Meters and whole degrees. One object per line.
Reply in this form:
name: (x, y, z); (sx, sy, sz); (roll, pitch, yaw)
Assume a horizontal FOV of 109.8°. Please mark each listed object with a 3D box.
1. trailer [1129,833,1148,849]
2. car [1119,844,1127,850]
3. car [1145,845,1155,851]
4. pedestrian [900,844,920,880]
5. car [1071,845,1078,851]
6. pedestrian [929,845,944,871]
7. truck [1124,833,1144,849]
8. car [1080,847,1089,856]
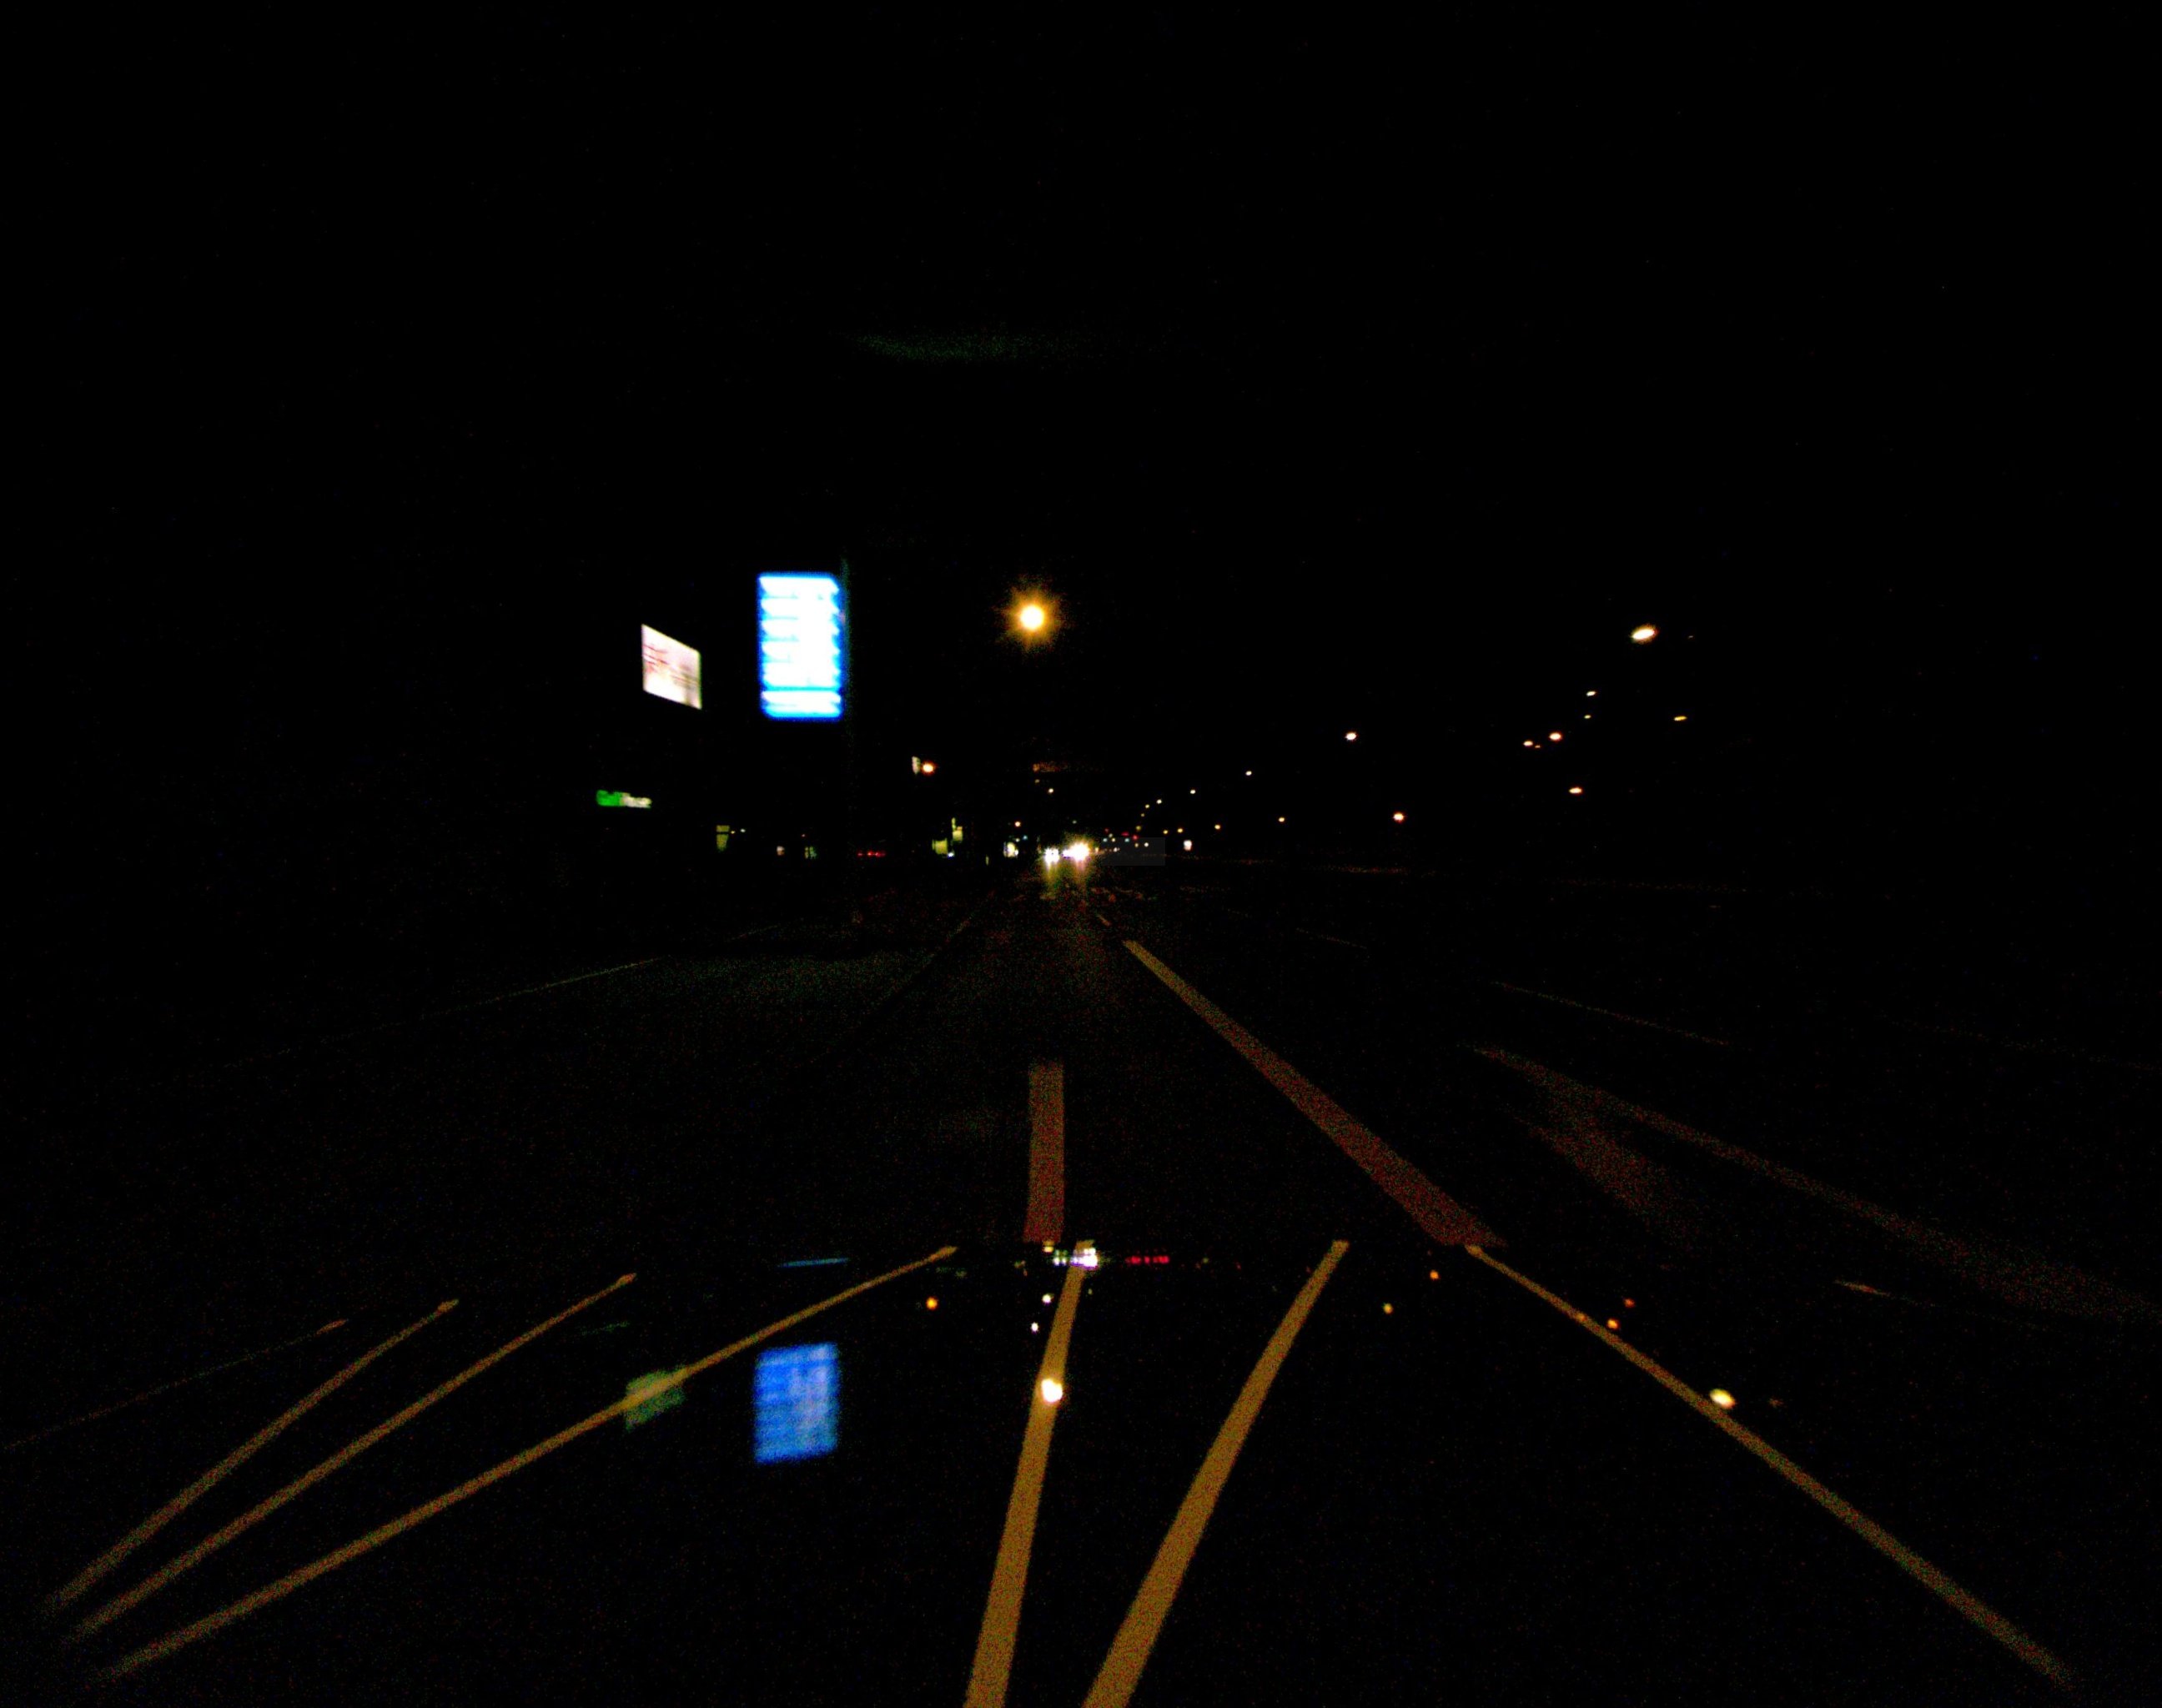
trailer: (14.572, -3.322, 193.811); (3.706, 3.967, 8.390); (-3, 2, -3)
car: (12.267, -2.027, 221.666); (1.809, 1.490, 4.082); (-2, 2, -4)
car: (17.927, -1.579, 198.081); (1.992, 1.473, 4.202); (0, 1, -3)
pedestrian: (-9.117, 0.433, 40.574); (0.806, 1.902, 0.793); (1, 2, 6)
car: (-1.905, -1.691, 216.471); (1.992, 1.473, 4.202); (0, 1, -3)
pedestrian: (-9.946, 0.275, 52.469); (0.855, 1.697, 0.957); (2, 2, -3)
truck: (14.037, -3.546, 203.279); (3.692, 3.932, 10.414); (-3, 2, -4)
car: (0.921, -0.632, 186.101); (1.794, 2.002, 4.000); (-3, 2, 3)
